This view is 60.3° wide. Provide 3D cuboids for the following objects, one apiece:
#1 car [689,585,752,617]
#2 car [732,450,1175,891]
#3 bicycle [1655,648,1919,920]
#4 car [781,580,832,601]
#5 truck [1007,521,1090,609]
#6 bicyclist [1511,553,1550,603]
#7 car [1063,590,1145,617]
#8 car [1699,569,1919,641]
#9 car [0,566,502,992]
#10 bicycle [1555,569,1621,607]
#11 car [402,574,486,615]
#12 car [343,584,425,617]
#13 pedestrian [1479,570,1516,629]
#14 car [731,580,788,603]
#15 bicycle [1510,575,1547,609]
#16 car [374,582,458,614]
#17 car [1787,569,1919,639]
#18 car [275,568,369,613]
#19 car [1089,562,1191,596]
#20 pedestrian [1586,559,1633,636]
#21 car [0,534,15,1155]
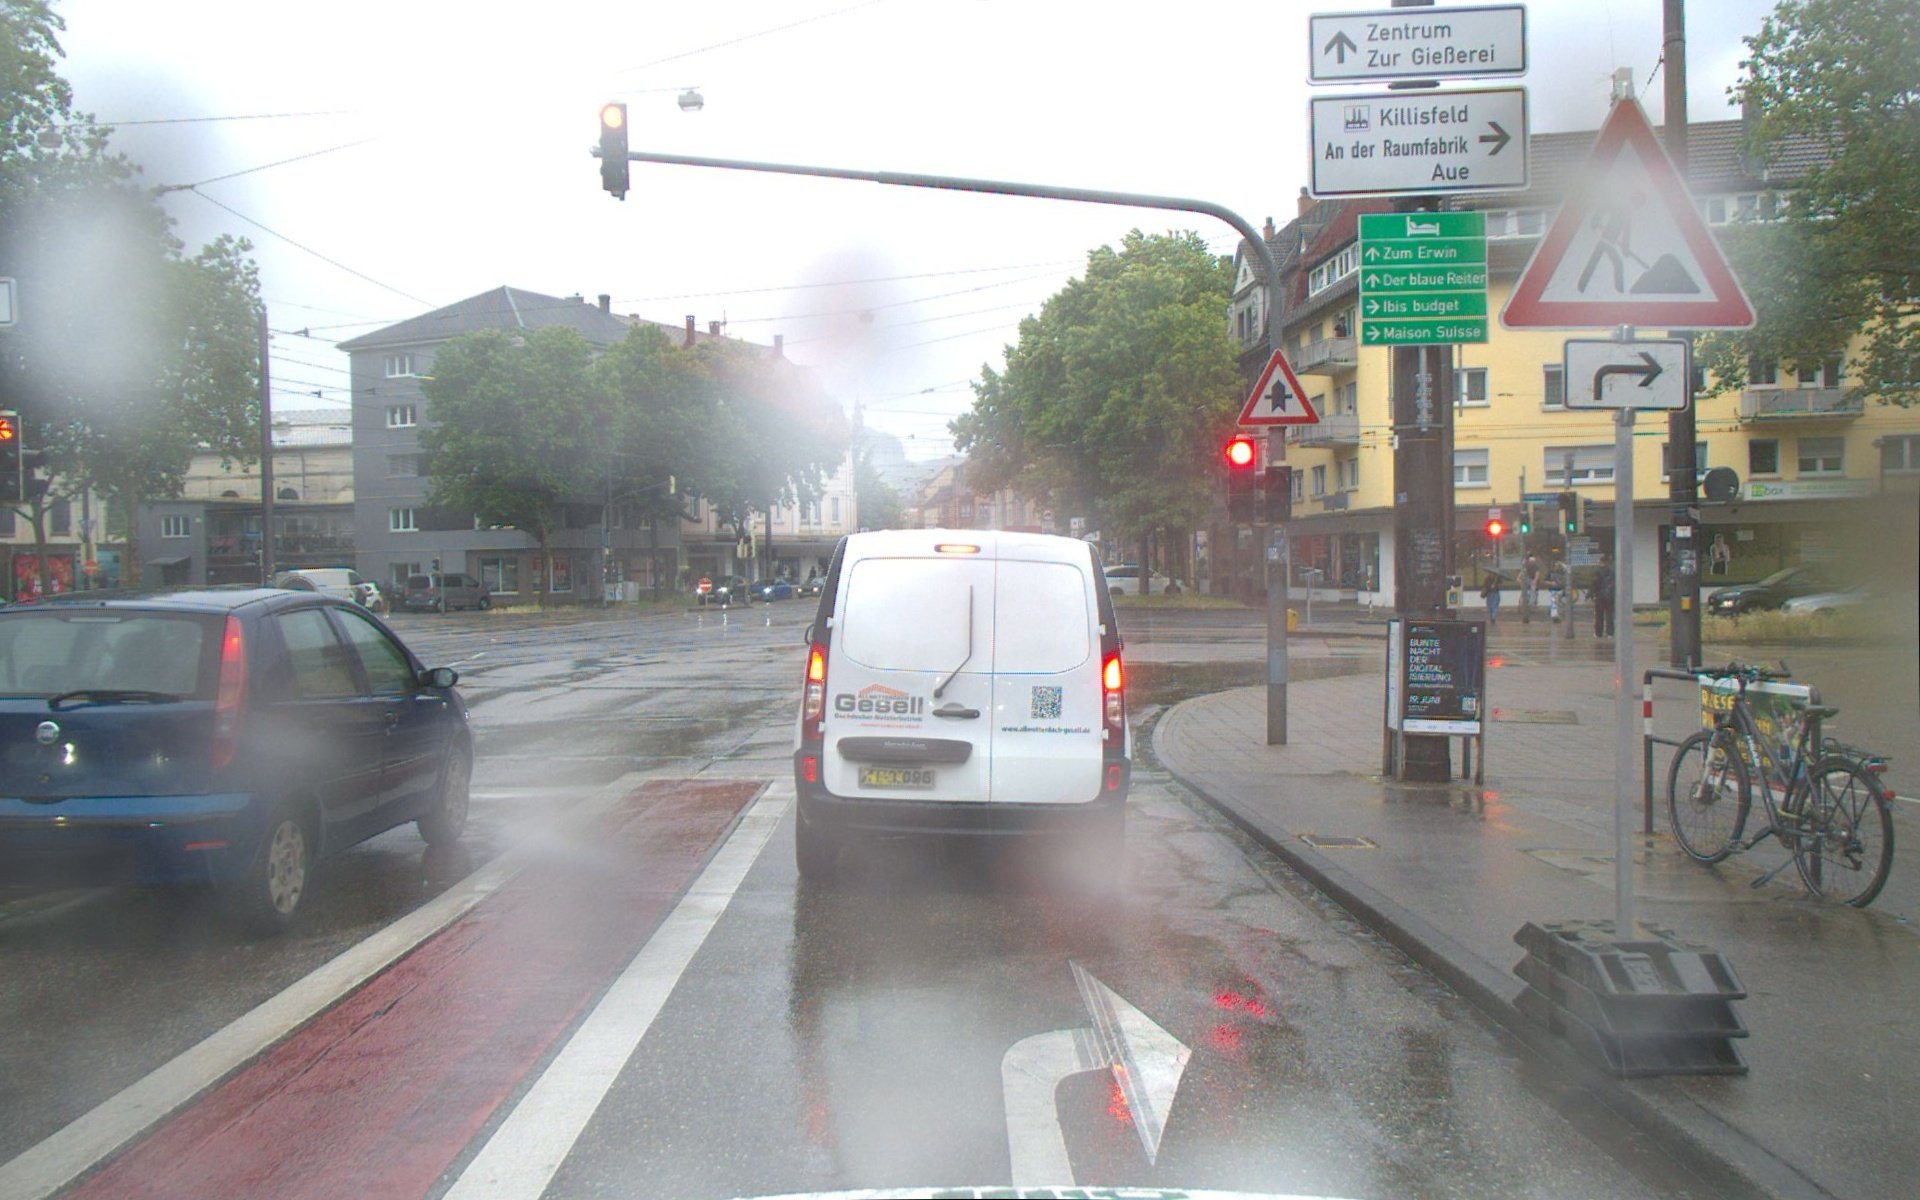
[{"bbox_3d":[-12.966,0.036,89.840,1.909,1.635,4.003,0,2,16],"label":"car"},{"bbox_3d":[-0.059,0.318,10.215,2.058,2.047,4.962,0,0,-1],"label":"car"},{"bbox_3d":[4.247,0.863,8.472,0.503,1.126,2.017,2,1,1],"label":"bicycle"},{"bbox_3d":[-9.674,-0.611,104.705,1.909,1.260,4.003,0,2,16],"label":"car"},{"bbox_3d":[5.790,-2.116,104.936,3.395,5.176,15.321,0,0,10],"label":"truck"},{"bbox_3d":[18.083,-0.703,52.417,0.917,1.574,1.066,0,0,34],"label":"bicyclist"},{"bbox_3d":[6.299,0.148,72.502,3.378,1.150,1.469,0,0,-9],"label":"car"},{"bbox_3d":[20.897,0.147,40.438,4.832,1.672,2.001,0,-2,11],"label":"car"},{"bbox_3d":[-3.614,0.659,8.151,1.692,1.606,3.820,0,0,-1],"label":"car"},{"bbox_3d":[21.610,-0.428,56.952,2.056,1.283,0.532,0,1,14],"label":"bicycle"},{"bbox_3d":[-26.700,-0.303,85.726,1.954,2.049,3.996,0,0,26],"label":"car"},{"bbox_3d":[-30.840,0.003,88.690,1.916,1.522,3.997,3,3,26],"label":"car"},{"bbox_3d":[14.405,-0.025,44.314,0.809,1.560,0.614,0,0,-39],"label":"pedestrian"},{"bbox_3d":[-11.672,-0.520,96.625,1.909,1.260,4.003,0,2,16],"label":"car"},{"bbox_3d":[18.019,-0.247,52.411,0.645,1.045,2.018,0,0,33],"label":"bicycle"},{"bbox_3d":[-28.750,-0.114,87.486,1.954,1.556,3.997,0,2,26],"label":"car"},{"bbox_3d":[20.982,0.079,37.308,3.854,1.516,1.808,0,2,15],"label":"car"},{"bbox_3d":[-34.062,-0.524,88.418,1.953,2.236,4.788,1,2,22],"label":"car"},{"bbox_3d":[7.639,-0.907,70.464,4.088,1.362,1.518,-1,2,-8],"label":"car"},{"bbox_3d":[14.594,-0.067,37.168,0.887,1.698,1.019,0,0,27],"label":"pedestrian"},{"bbox_3d":[-3.490,0.681,2.473,1.797,1.697,4.172,0,0,-1],"label":"car"}]
